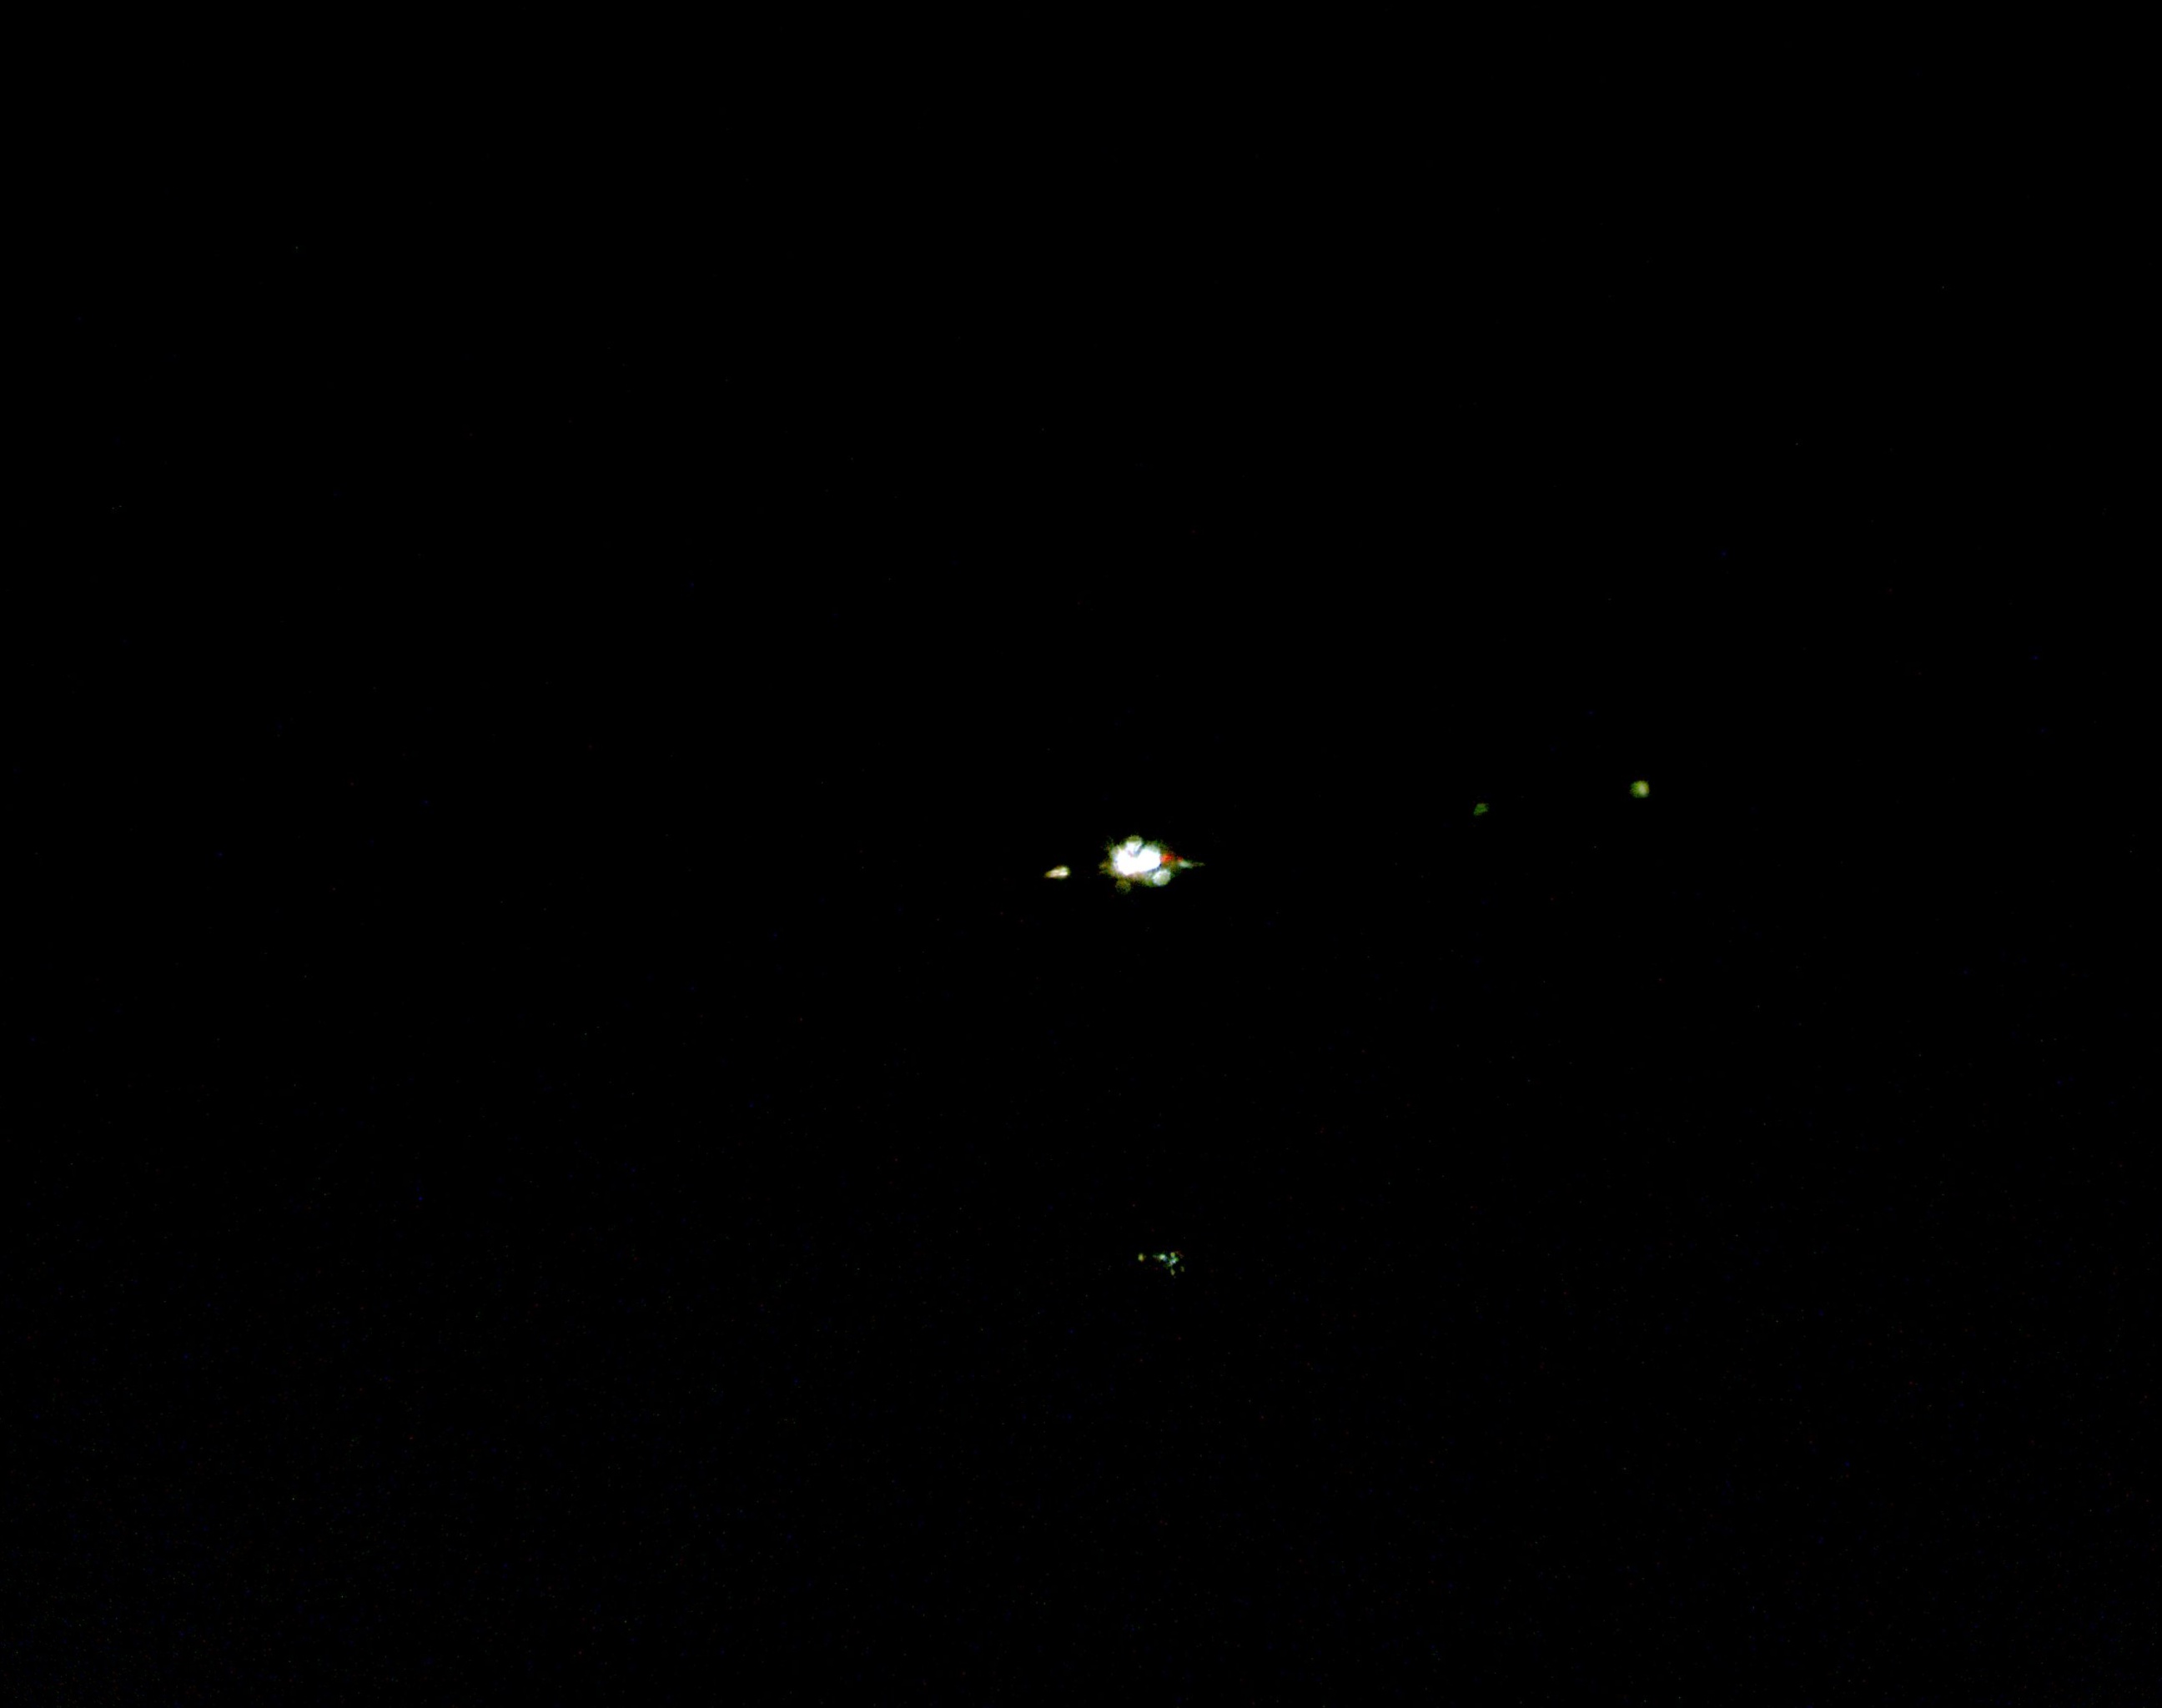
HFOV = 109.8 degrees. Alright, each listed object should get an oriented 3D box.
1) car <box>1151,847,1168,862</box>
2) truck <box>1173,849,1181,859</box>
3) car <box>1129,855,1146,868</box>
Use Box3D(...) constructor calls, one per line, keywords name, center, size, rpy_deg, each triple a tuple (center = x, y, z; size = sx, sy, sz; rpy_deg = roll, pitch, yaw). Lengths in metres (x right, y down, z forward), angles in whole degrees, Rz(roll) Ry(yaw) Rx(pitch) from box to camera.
Box3D(name="car", center=(9.083, 0.088, 87.818), size=(1.925, 1.636, 4.027), rpy_deg=(-1, 0, 6))
Box3D(name="truck", center=(25.354, -0.037, 200.661), size=(2.141, 2.520, 5.281), rpy_deg=(-2, 0, 6))
Box3D(name="car", center=(7.457, 1.028, 100.320), size=(1.745, 1.623, 3.739), rpy_deg=(-1, 0, 11))
